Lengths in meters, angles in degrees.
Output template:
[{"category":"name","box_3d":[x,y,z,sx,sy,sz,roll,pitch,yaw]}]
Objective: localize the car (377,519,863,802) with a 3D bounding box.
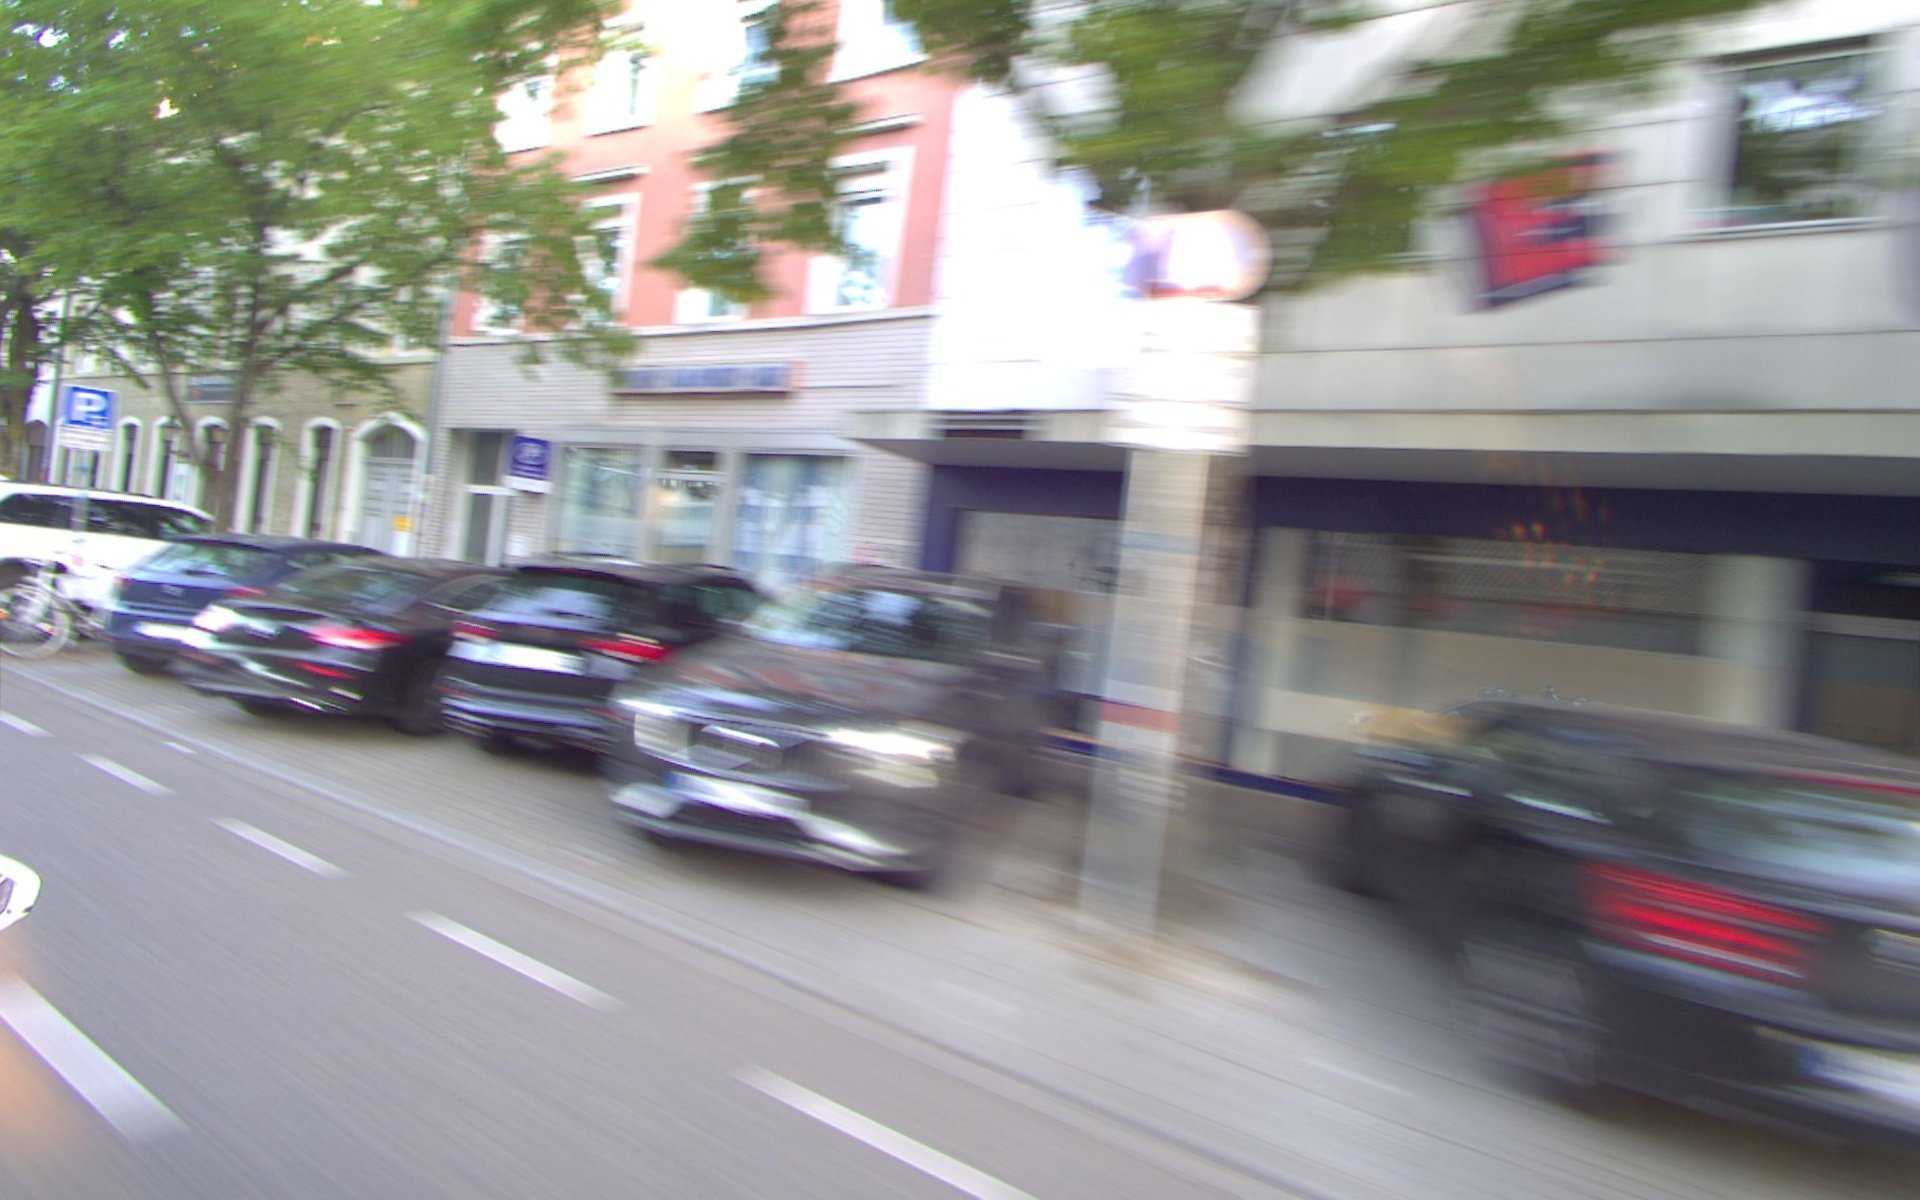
[{"category":"car","box_3d":[-2.553,0.391,8.815,1.938,1.670,4.224,6,1,14]}]

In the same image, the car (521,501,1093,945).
[{"category":"car","box_3d":[-0.499,0.555,7.240,2.166,1.850,4.978,6,1,14]}]

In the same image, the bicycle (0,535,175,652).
[{"category":"bicycle","box_3d":[-9.381,-0.071,10.517,0.488,1.117,1.840,7,2,18]}]

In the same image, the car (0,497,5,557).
[{"category":"car","box_3d":[-21.907,-1.631,20.120,1.673,1.425,3.785,6,0,7]}]

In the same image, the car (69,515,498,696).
[{"category":"car","box_3d":[-6.951,0.029,10.882,1.694,1.445,3.758,6,1,8]}]

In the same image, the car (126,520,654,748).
[{"category":"car","box_3d":[-4.823,0.233,9.382,1.938,1.445,4.225,6,1,10]}]

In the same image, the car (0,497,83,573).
[{"category":"car","box_3d":[-19.687,-1.369,19.187,1.772,1.407,4.323,6,1,7]}]

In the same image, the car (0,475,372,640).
[{"category":"car","box_3d":[-10.208,-0.497,12.395,1.974,1.710,4.652,7,1,31]}]

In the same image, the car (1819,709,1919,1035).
[{"category":"car","box_3d":[5.563,1.470,3.461,1.779,1.521,3.892,6,1,2]}]

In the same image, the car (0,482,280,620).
[{"category":"car","box_3d":[-12.825,-0.726,14.429,1.972,1.710,4.656,7,1,27]}]

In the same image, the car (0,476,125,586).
[{"category":"car","box_3d":[-17.288,-1.302,17.386,1.970,1.829,4.160,6,0,4]}]

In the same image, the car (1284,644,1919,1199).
[{"category":"car","box_3d":[3.161,1.180,4.941,1.934,1.484,4.166,6,1,4]}]
